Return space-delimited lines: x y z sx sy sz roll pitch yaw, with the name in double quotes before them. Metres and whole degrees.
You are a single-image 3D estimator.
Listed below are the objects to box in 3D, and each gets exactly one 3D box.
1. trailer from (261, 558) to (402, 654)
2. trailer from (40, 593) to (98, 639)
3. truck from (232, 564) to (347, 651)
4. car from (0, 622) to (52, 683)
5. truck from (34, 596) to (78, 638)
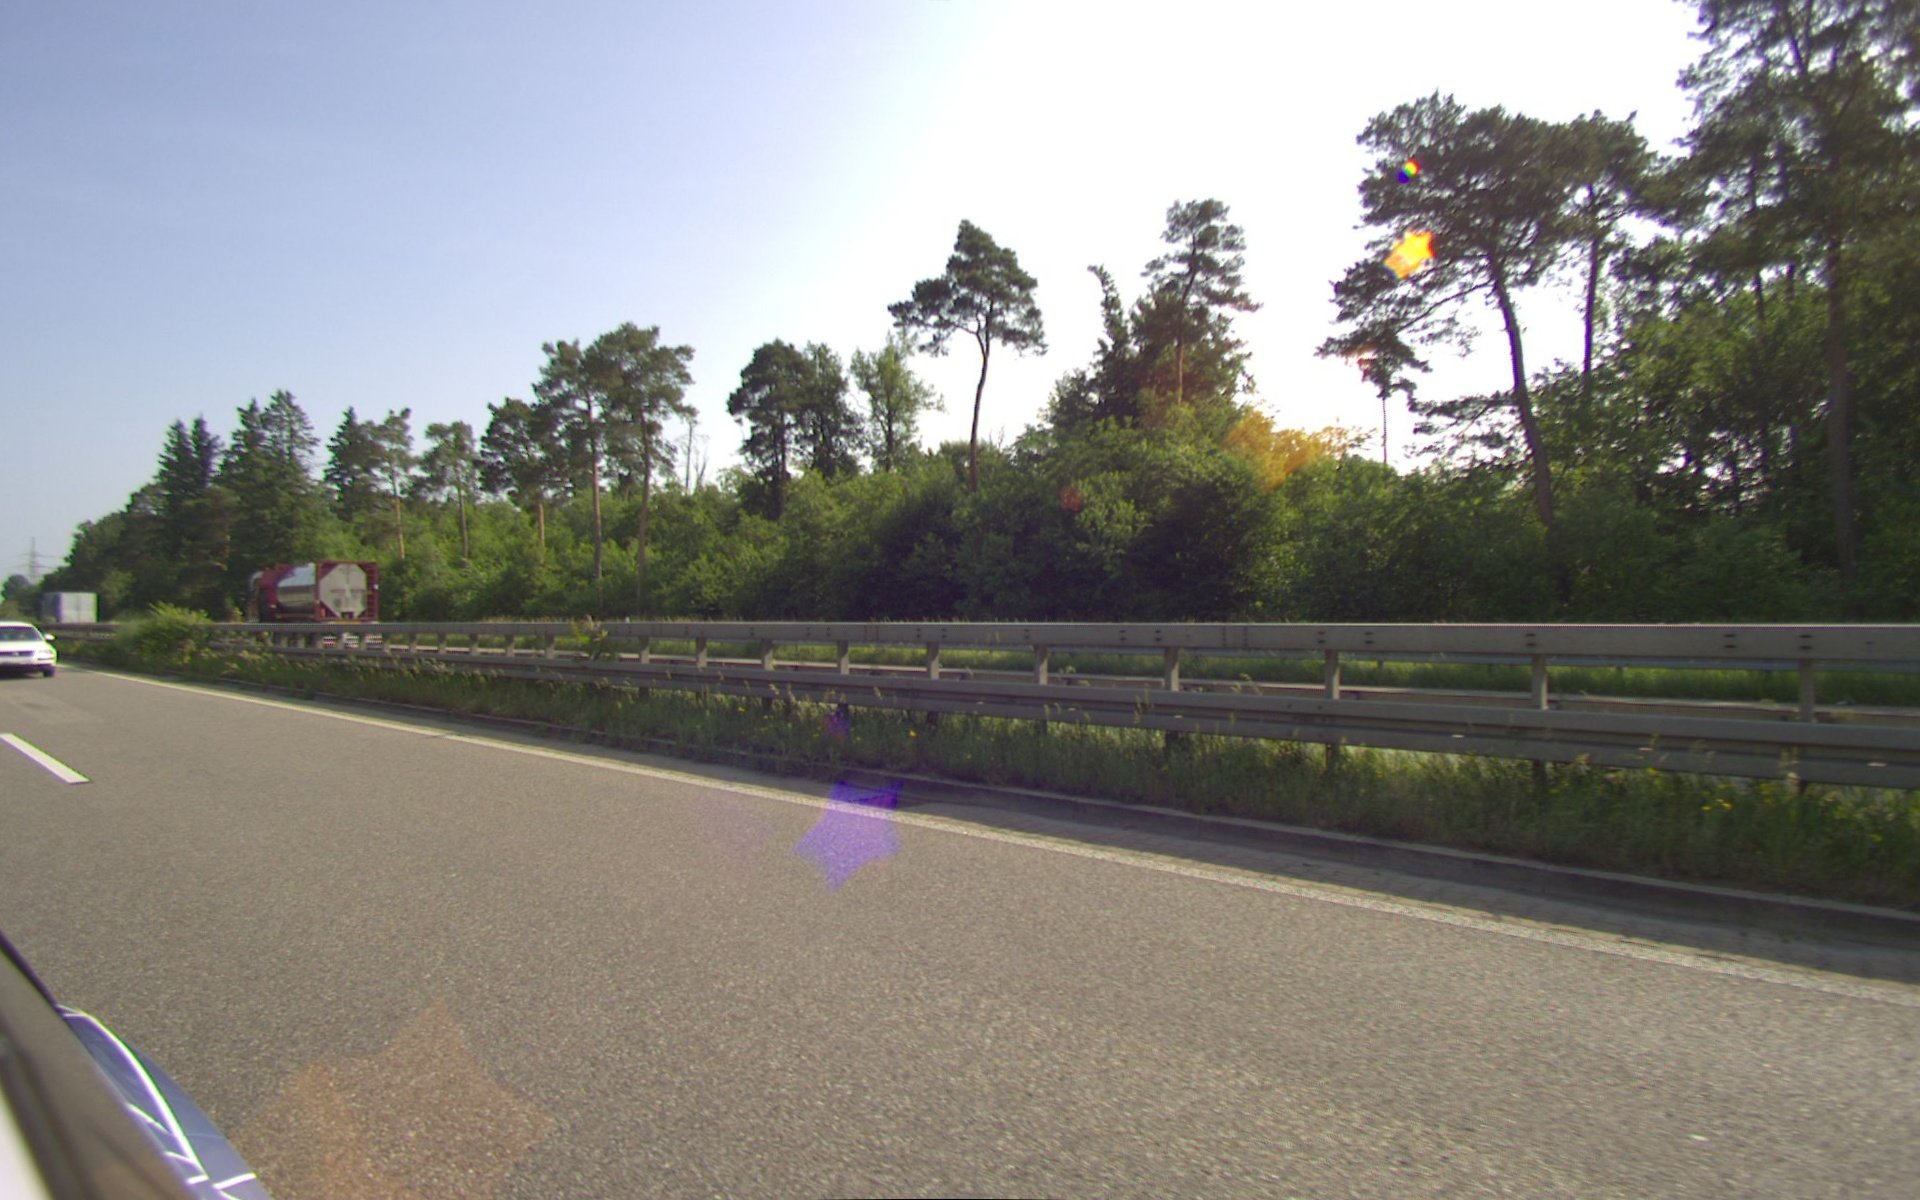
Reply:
"trailer" -29.219 0.296 46.862 8.370 4.070 3.261 -1 0 41
"trailer" -87.110 1.603 98.840 13.075 4.232 2.663 -1 -2 42
"truck" -33.726 0.355 50.804 6.229 4.069 3.233 -1 0 41
"car" -25.516 1.339 26.833 5.264 1.497 1.730 -1 -1 44
"truck" -93.059 1.752 104.169 6.291 4.232 2.680 -1 -2 42
